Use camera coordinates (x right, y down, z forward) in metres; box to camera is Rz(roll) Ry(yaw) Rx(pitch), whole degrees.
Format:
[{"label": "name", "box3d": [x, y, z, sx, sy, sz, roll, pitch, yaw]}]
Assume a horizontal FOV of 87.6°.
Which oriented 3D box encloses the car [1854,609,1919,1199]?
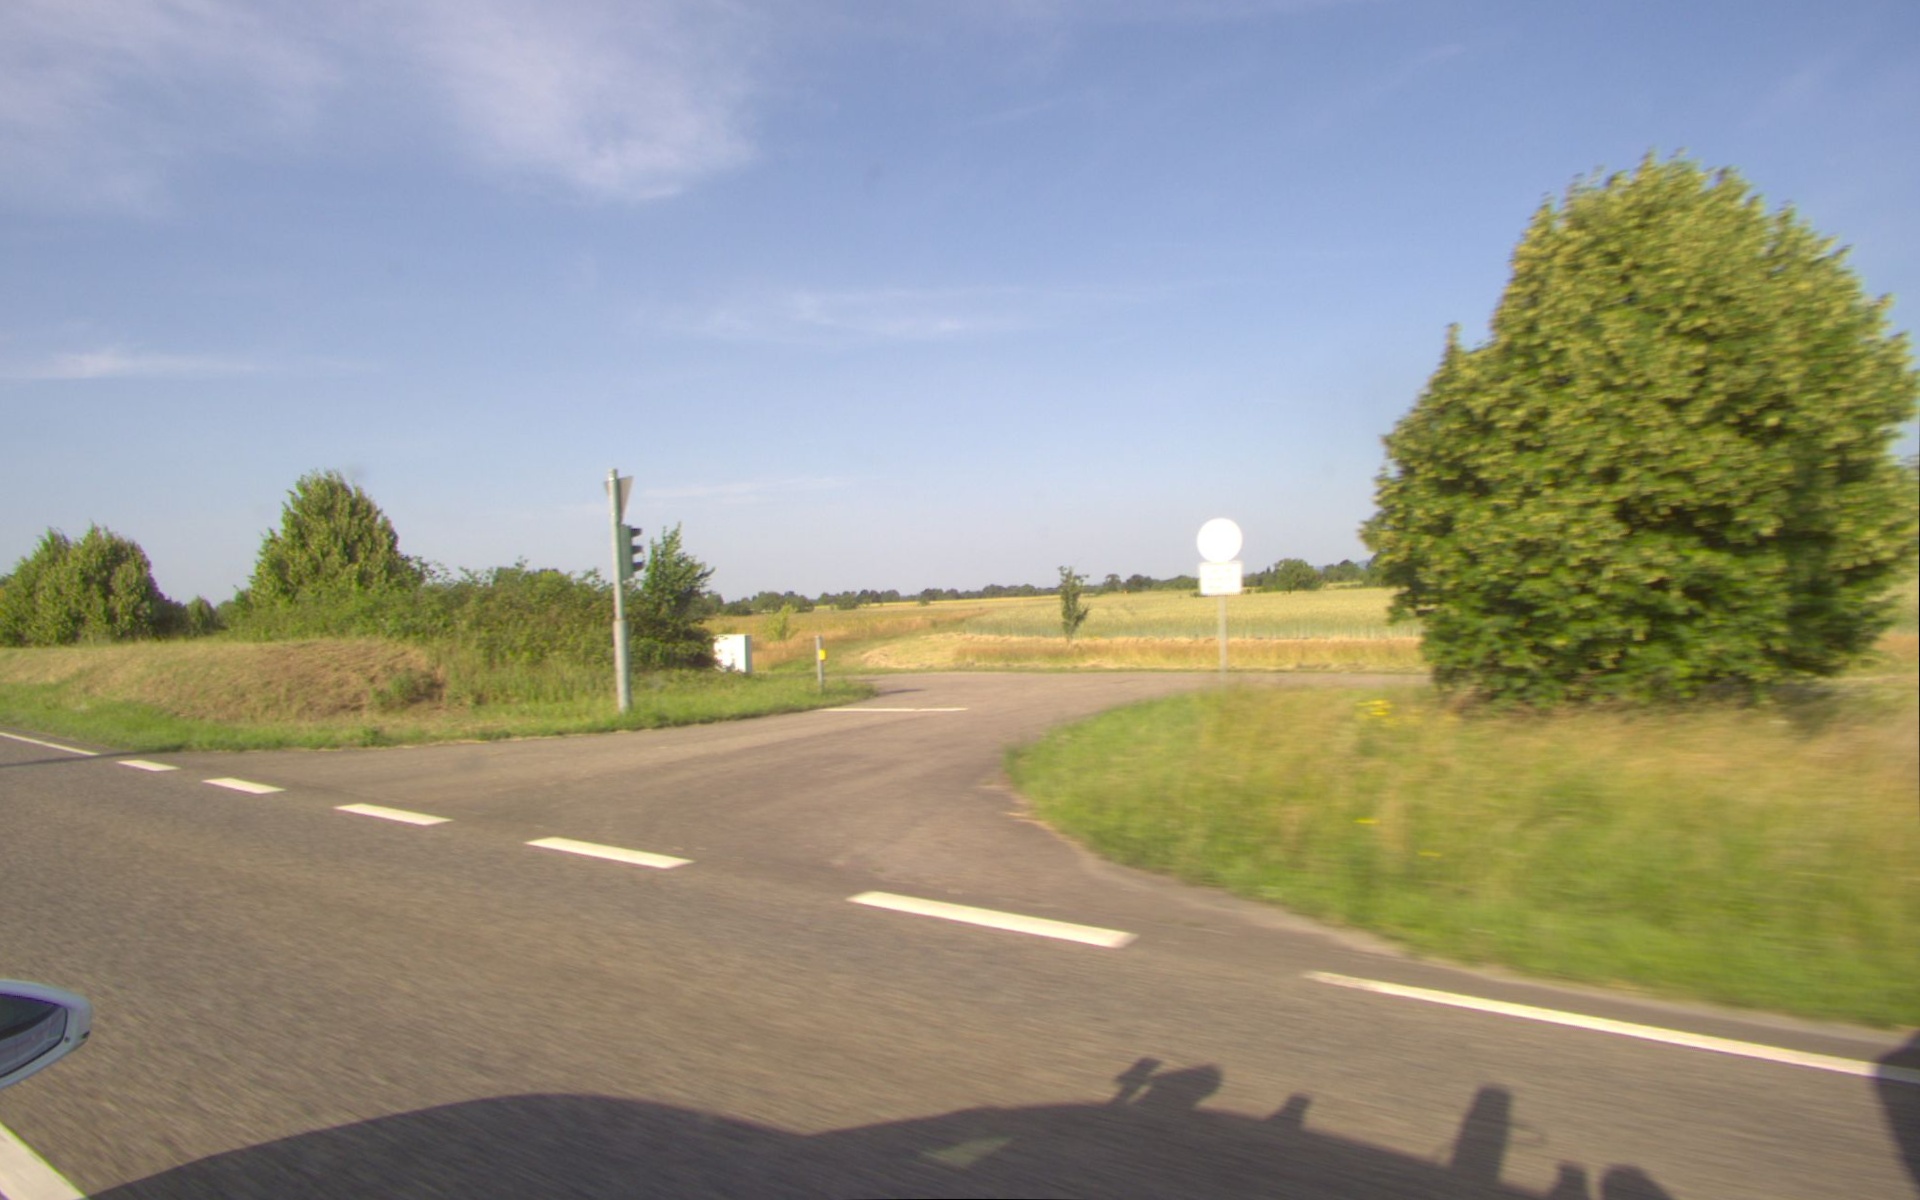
[{"label": "car", "box3d": [3.608, 0.699, 0.884, 3.896, 1.483, 1.659, -2, -1, 30]}]
